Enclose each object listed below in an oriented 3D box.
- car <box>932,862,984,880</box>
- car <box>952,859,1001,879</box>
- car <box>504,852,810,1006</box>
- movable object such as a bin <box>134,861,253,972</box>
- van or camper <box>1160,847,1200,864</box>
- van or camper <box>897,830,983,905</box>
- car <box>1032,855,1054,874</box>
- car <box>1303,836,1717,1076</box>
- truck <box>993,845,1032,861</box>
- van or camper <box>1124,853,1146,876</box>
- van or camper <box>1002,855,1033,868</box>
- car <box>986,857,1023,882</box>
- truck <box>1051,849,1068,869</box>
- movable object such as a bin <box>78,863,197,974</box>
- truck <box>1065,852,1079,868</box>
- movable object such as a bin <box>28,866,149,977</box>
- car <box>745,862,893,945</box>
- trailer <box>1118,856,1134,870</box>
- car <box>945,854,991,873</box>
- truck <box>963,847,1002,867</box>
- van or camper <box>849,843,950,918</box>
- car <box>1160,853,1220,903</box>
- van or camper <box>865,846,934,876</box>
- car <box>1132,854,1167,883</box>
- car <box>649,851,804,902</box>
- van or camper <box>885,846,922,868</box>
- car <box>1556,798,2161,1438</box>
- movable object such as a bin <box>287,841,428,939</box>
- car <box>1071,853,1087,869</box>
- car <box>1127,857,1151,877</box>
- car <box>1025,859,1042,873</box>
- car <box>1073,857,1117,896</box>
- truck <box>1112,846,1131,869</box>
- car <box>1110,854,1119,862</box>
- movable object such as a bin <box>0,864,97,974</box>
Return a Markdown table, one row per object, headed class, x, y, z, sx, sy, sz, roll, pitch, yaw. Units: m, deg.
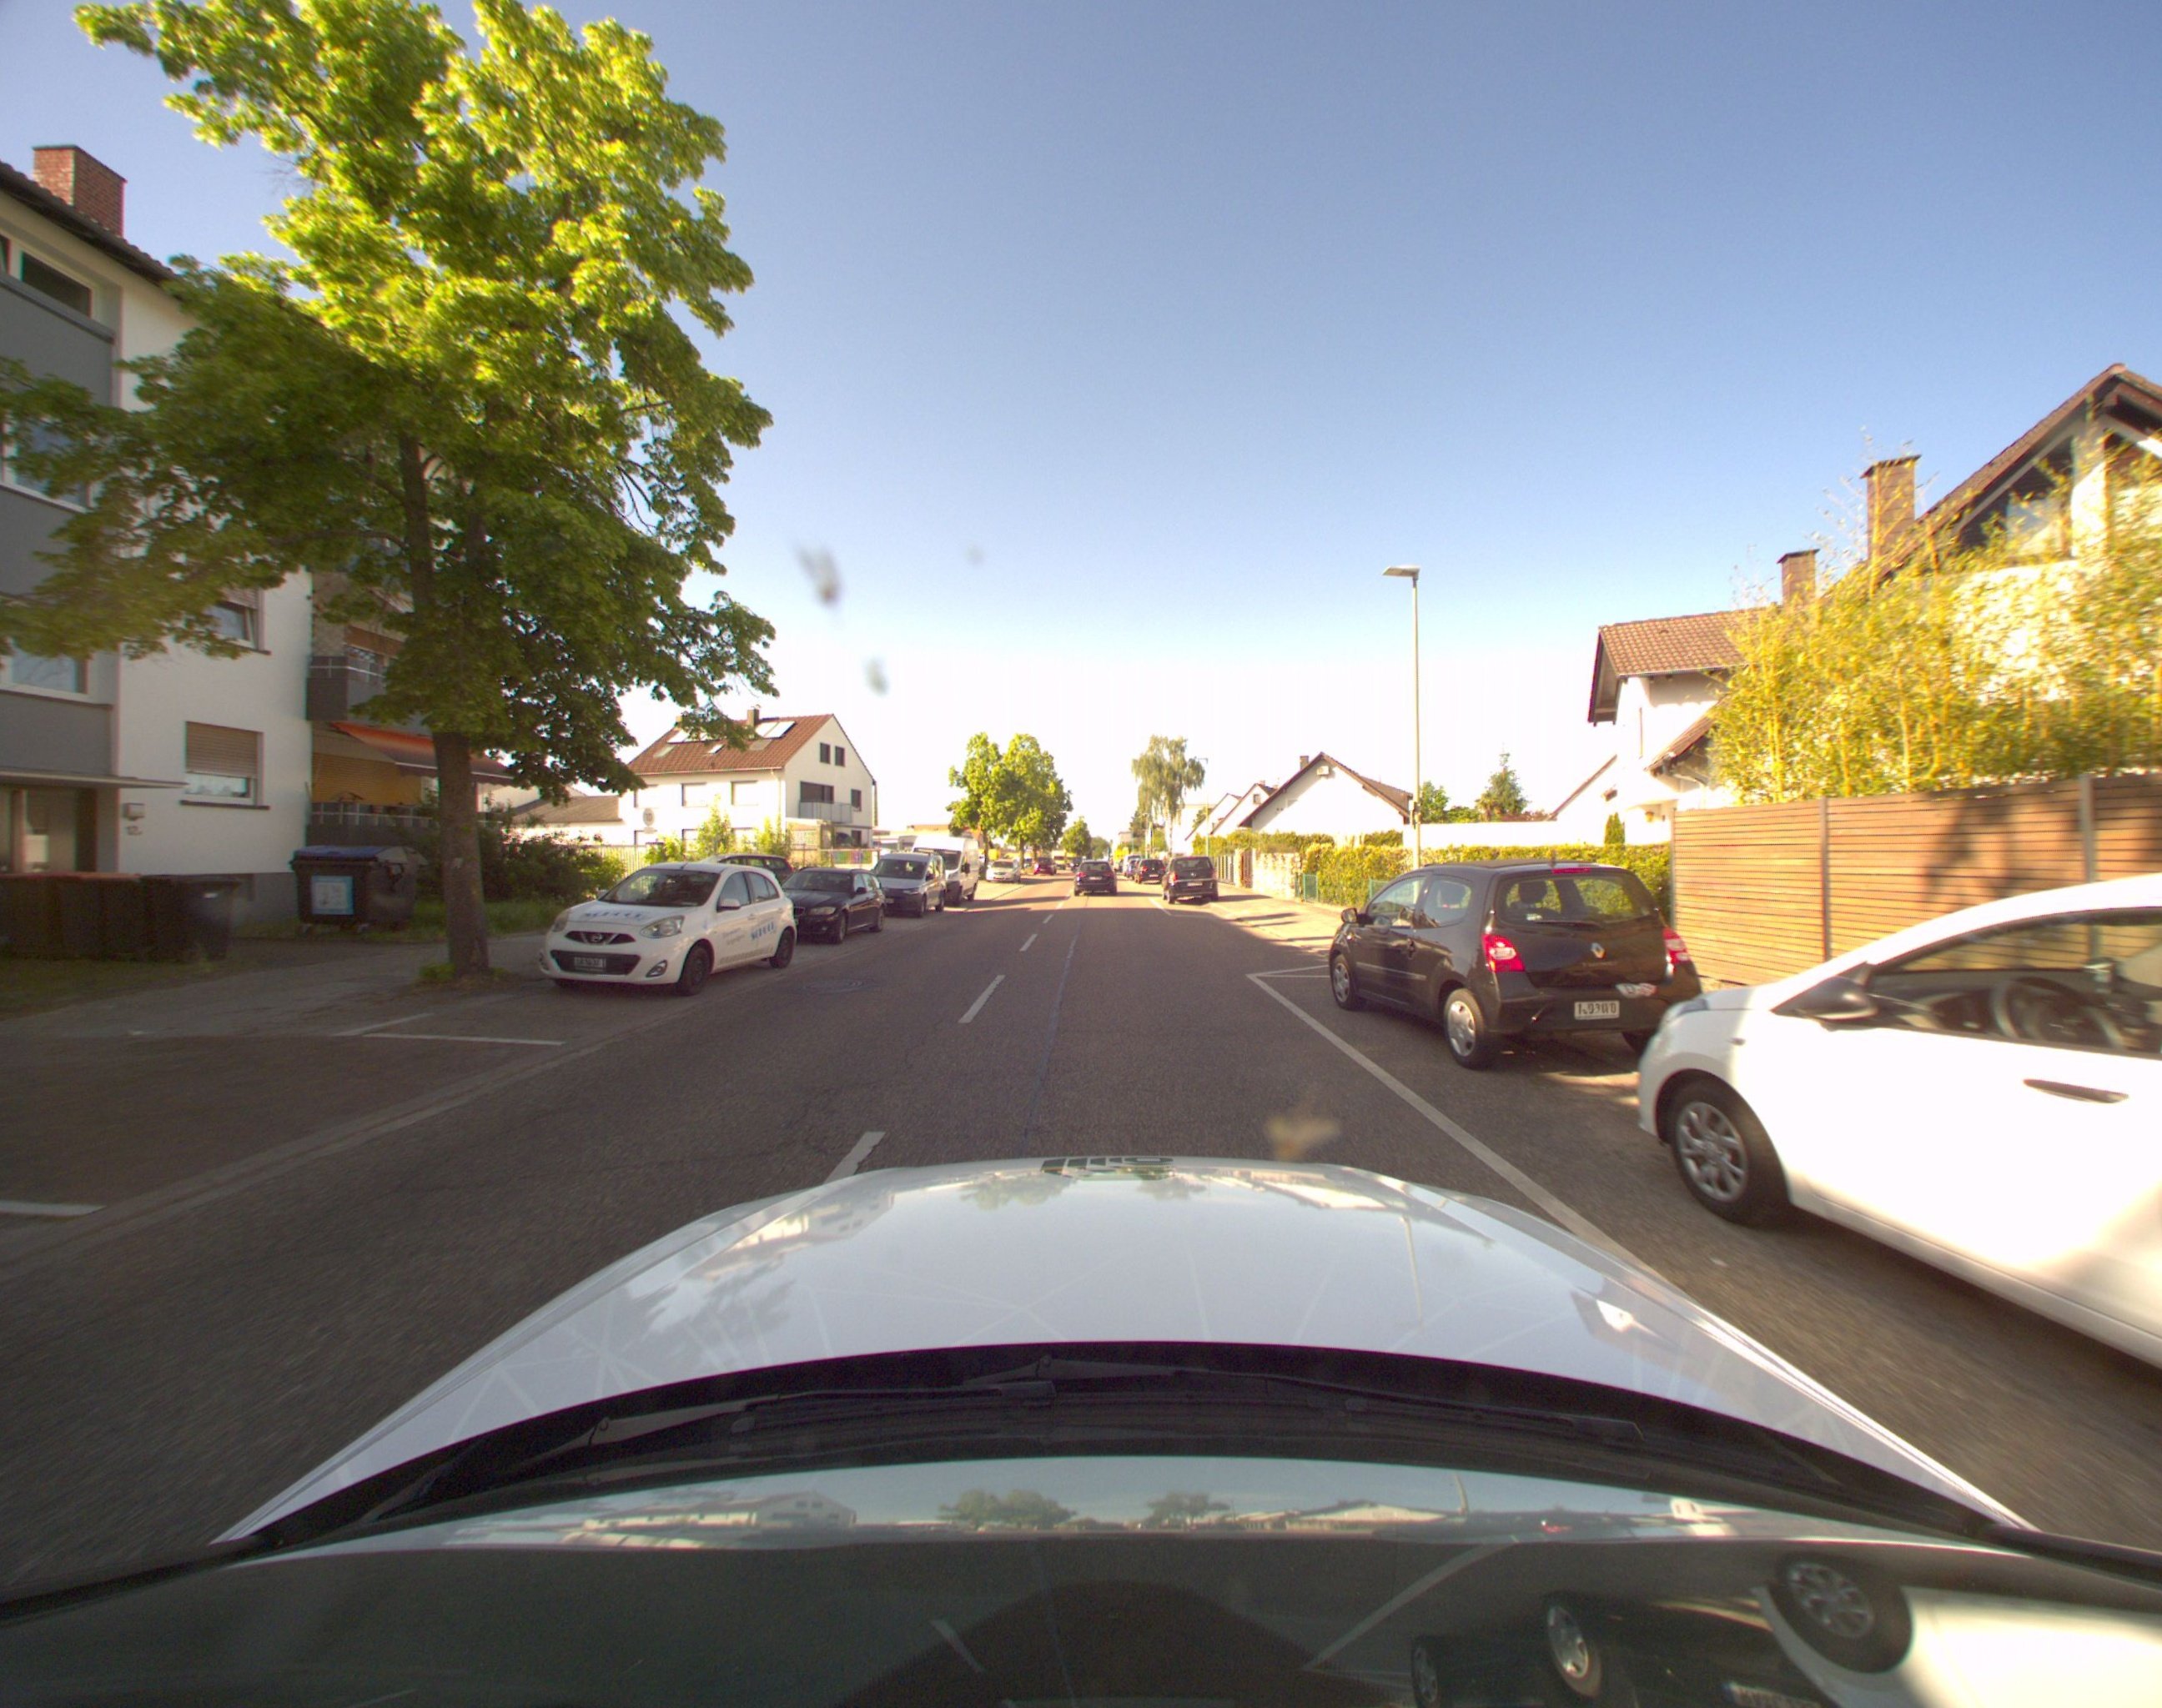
| class | x | y | z | sx | sy | sz | roll | pitch | yaw |
| --- | --- | --- | --- | --- | --- | --- | --- | --- | --- |
| car | -10.913 | 1.505 | 72.516 | 4.228 | 1.542 | 1.769 | -1 | 1 | 5 |
| car | -9.778 | 1.398 | 76.186 | 4.229 | 1.752 | 1.768 | -1 | -1 | 4 |
| car | -5.197 | 0.798 | 10.661 | 1.685 | 1.566 | 3.911 | 2 | 0 | 4 |
| movable object such as a bin | -10.661 | 0.727 | 9.803 | 0.684 | 1.279 | 0.672 | -1 | 0 | 4 |
| van or camper | 15.375 | 0.168 | 126.840 | 5.842 | 2.541 | 2.271 | -1 | -1 | -25 |
| van or camper | -5.149 | 0.467 | 30.585 | 2.115 | 2.490 | 5.556 | 2 | 0 | 1 |
| car | -3.607 | 1.000 | 78.538 | 1.797 | 1.752 | 4.343 | 1 | 0 | 2 |
| car | 3.427 | 0.685 | 7.404 | 1.652 | 1.601 | 3.813 | 0 | 0 | -2 |
| truck | -11.213 | -0.105 | 133.200 | 5.881 | 2.567 | 2.231 | 1 | 0 | 12 |
| van or camper | 4.545 | 0.886 | 68.615 | 1.712 | 1.891 | 4.181 | 0 | 0 | 2 |
| van or camper | -10.105 | 1.140 | 130.315 | 4.518 | 2.014 | 2.256 | -1 | 0 | 7 |
| car | -4.808 | 0.945 | 51.810 | 1.680 | 1.435 | 4.212 | 2 | 0 | 3 |
| truck | -3.220 | 0.740 | 124.912 | 2.395 | 2.983 | 7.244 | 1 | 0 | 0 |
| movable object such as a bin | -11.345 | 0.754 | 9.811 | 0.636 | 1.279 | 0.672 | -1 | 0 | 4 |
| truck | -1.787 | 1.126 | 156.602 | 2.394 | 2.983 | 6.375 | 1 | -1 | 2 |
| movable object such as a bin | -12.017 | 0.796 | 9.876 | 0.636 | 1.279 | 0.672 | -1 | 0 | 4 |
| car | -5.267 | 0.918 | 16.980 | 1.604 | 1.435 | 4.313 | 1 | 0 | 1 |
| trailer | 4.999 | 1.032 | 90.833 | 1.621 | 1.538 | 3.200 | -1 | 0 | 2 |
| car | -11.345 | 0.959 | 81.792 | 4.226 | 1.728 | 1.769 | -1 | -1 | 6 |
| truck | -15.926 | 0.533 | 131.431 | 5.630 | 3.119 | 2.531 | 1 | 0 | 12 |
| van or camper | -5.227 | 0.722 | 24.041 | 1.871 | 2.013 | 4.281 | 0 | 0 | 2 |
| car | 3.840 | 0.804 | 29.248 | 1.769 | 1.659 | 4.306 | 0 | 0 | 2 |
| van or camper | -14.367 | 0.562 | 64.564 | 4.858 | 2.320 | 2.252 | 0 | -1 | 13 |
| car | 4.067 | 0.830 | 48.690 | 1.770 | 1.659 | 3.815 | 0 | 0 | -1 |
| car | -11.504 | 0.674 | 26.697 | 1.594 | 1.513 | 4.415 | 0 | 0 | 41 |
| van or camper | -22.548 | 0.389 | 103.632 | 2.150 | 2.715 | 6.289 | -1 | 0 | 12 |
| car | 3.538 | 0.656 | 2.603 | 1.720 | 1.601 | 3.813 | 0 | 0 | -2 |
| movable object such as a bin | -11.571 | 0.555 | 13.075 | 1.226 | 1.482 | 1.117 | -1 | 0 | 4 |
| car | -0.233 | 0.924 | 111.932 | 1.887 | 2.031 | 4.819 | -2 | 0 | 2 |
| car | 4.437 | 0.973 | 62.631 | 1.712 | 1.505 | 3.564 | 0 | 0 | 2 |
| car | -5.982 | 1.562 | 102.580 | 1.855 | 1.590 | 4.276 | -1 | -2 | 1 |
| car | 0.625 | 0.902 | 34.220 | 1.705 | 1.532 | 3.689 | -1 | 0 | 2 |
| truck | 5.678 | 0.519 | 114.842 | 2.394 | 2.936 | 7.017 | -3 | -1 | 1 |
| car | 7.984 | 0.906 | 195.147 | 1.912 | 1.825 | 4.081 | -1 | 0 | 1 |
| movable object such as a bin | -12.688 | 0.774 | 9.896 | 0.636 | 1.279 | 0.672 | -1 | 0 | 4 |
